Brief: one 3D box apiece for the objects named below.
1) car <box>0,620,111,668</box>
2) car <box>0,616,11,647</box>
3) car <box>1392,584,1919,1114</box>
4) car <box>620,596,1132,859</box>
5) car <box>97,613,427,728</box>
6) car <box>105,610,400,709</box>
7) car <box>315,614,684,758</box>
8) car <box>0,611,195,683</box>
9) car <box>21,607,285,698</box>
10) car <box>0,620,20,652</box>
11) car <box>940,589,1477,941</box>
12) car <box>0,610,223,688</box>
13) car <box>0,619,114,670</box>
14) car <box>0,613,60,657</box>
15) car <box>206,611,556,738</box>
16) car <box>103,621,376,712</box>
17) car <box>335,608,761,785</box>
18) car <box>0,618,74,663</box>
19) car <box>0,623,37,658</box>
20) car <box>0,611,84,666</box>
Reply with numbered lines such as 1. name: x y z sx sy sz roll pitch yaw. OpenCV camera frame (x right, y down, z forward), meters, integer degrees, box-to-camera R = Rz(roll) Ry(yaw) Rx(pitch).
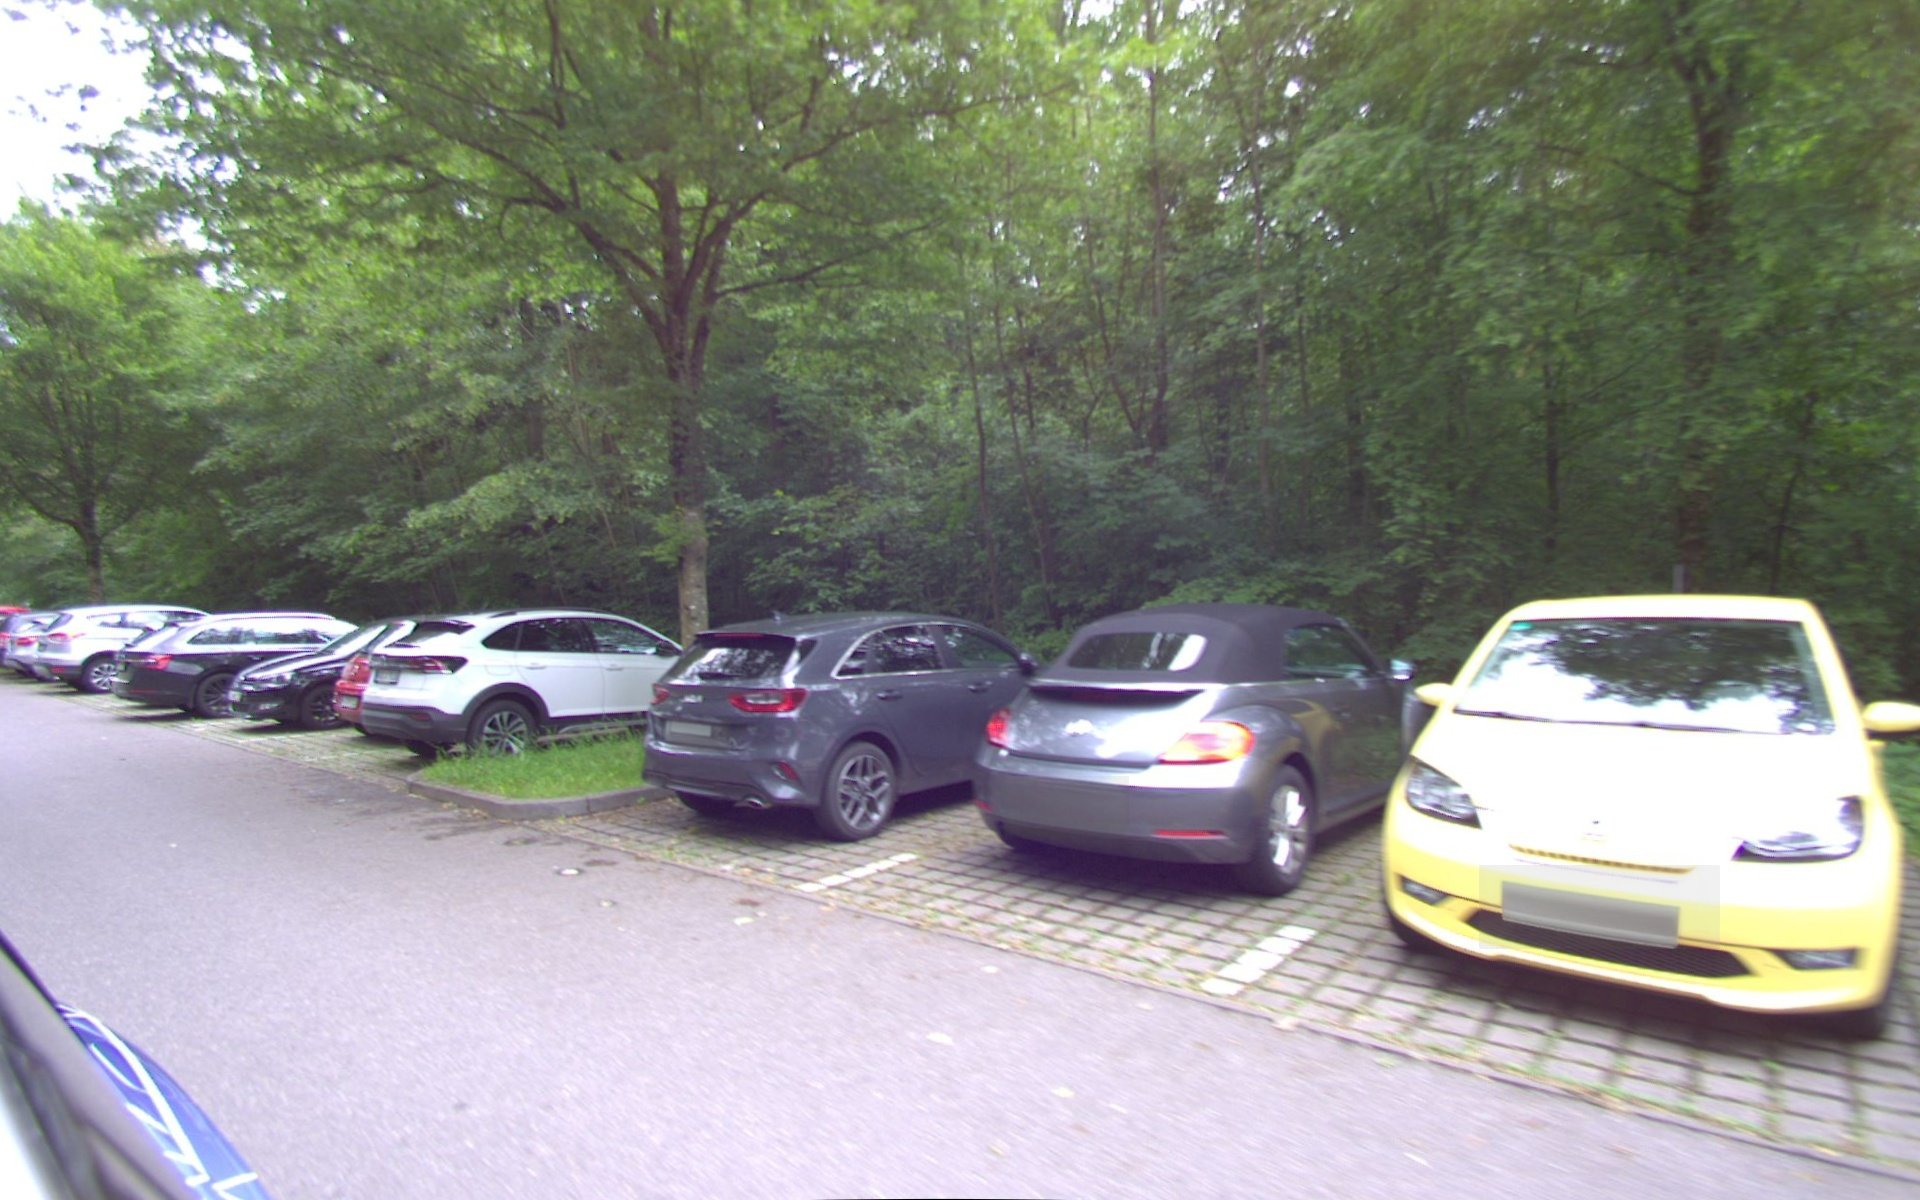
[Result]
1. car: -31.437 1.471 34.242 1.817 1.527 3.946 -1 -1 40
2. car: -49.994 1.632 50.208 1.710 1.528 3.953 -2 0 35
3. car: 3.507 0.697 4.770 1.616 1.449 3.947 -2 0 40
4. car: -0.414 0.750 7.947 1.713 1.449 3.947 -2 0 40
5. car: -10.739 0.988 15.775 1.677 1.446 3.945 -2 0 42
6. car: -12.226 0.953 17.680 1.648 1.446 3.945 -2 0 42
7. car: -5.724 0.961 12.945 1.702 1.446 3.945 -2 0 42
8. car: -21.922 1.135 25.494 1.694 1.675 3.948 -1 -1 38
9. car: -16.395 0.989 20.719 1.812 1.675 3.948 -1 -1 38
10. car: -48.134 1.752 48.642 1.816 1.549 4.168 -1 -1 40
11. car: 1.829 0.708 6.417 1.732 1.449 3.947 -2 0 40
12. car: -20.037 1.084 23.904 1.813 1.675 3.946 -1 -1 40
13. car: -29.459 1.398 31.996 1.770 1.527 3.946 -1 -1 40
14. car: -36.933 1.358 38.416 1.741 1.609 3.945 -2 0 42
15. car: -8.002 0.930 14.258 1.677 1.446 3.945 -2 0 42
16. car: -13.739 1.185 19.484 1.812 1.432 3.948 -1 0 38
17. car: -4.275 0.880 11.007 1.713 1.478 3.947 -2 0 39
18. car: -35.158 1.485 37.039 1.741 1.609 3.944 -1 -1 42
19. car: -40.920 1.700 41.842 1.741 1.432 3.944 -1 -1 43
20. car: -33.225 1.331 35.195 1.816 1.828 3.947 -1 -1 39
